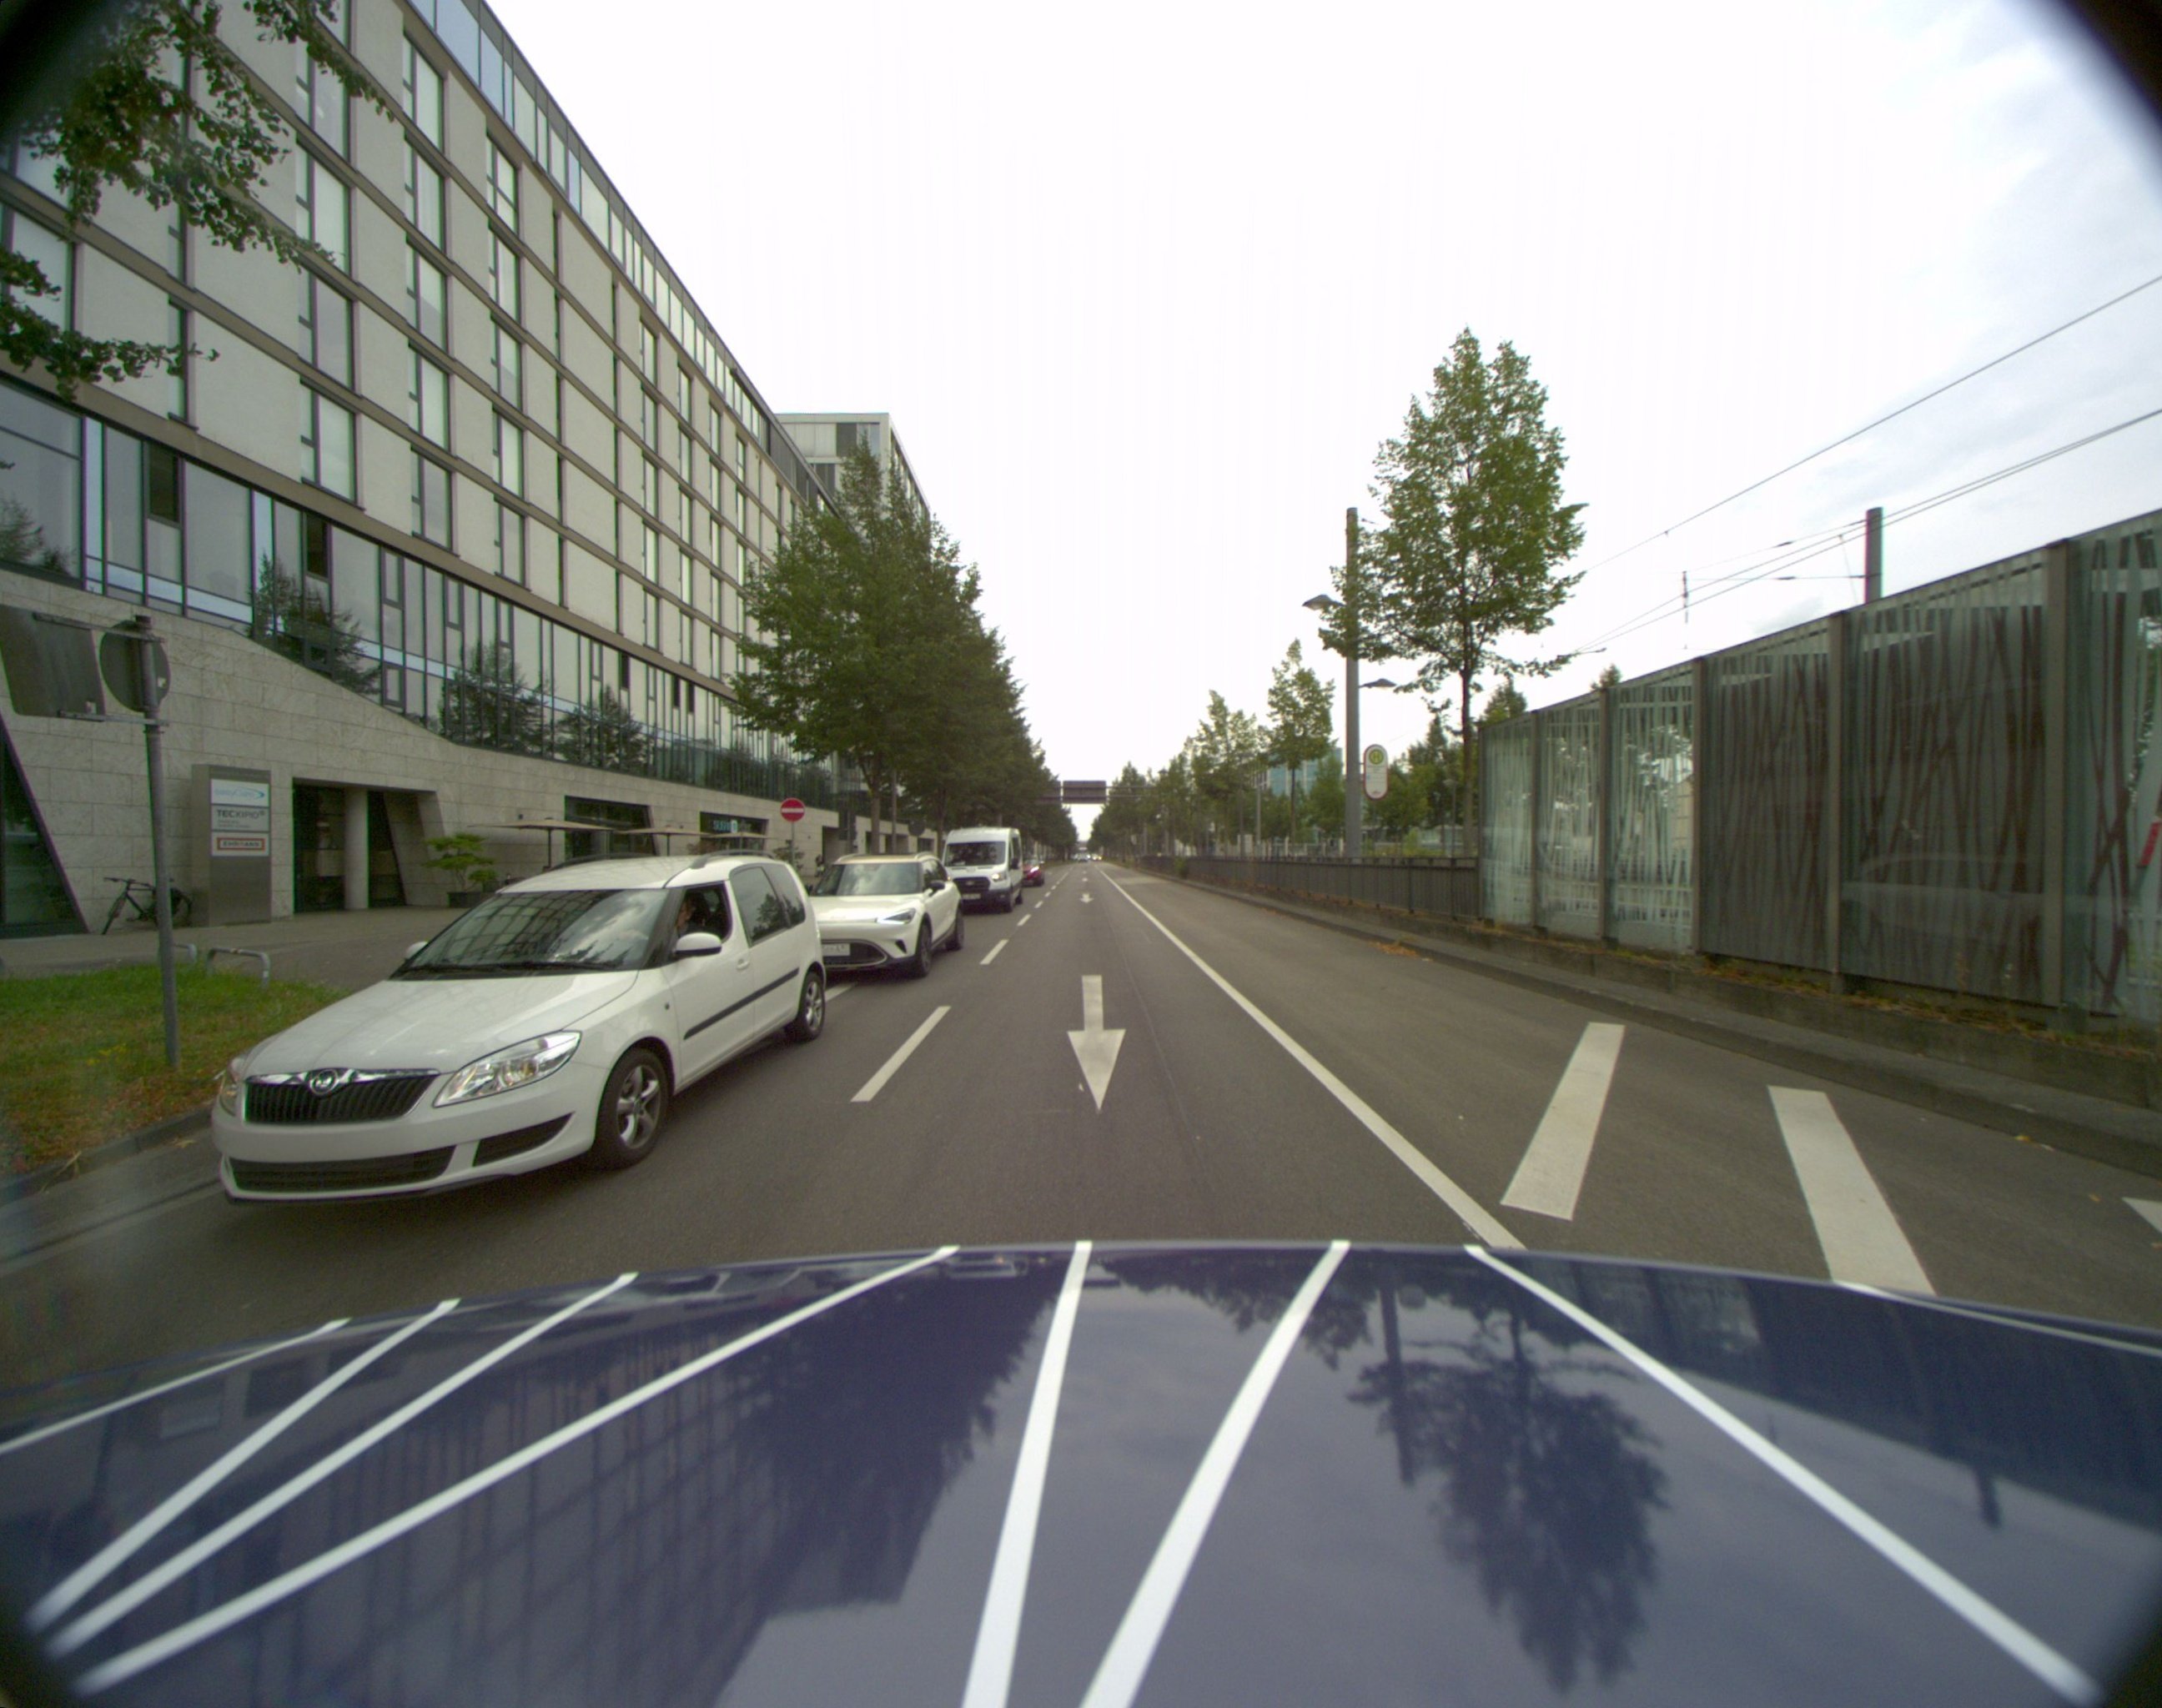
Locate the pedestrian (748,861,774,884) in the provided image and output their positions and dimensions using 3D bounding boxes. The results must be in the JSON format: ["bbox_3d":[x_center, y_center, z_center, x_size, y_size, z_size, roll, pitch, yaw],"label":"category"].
[{"bbox_3d":[-17.348,0.990,41.214,0.773,1.185,1.107,0,0,15],"label":"pedestrian"}]

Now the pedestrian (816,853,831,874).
[{"bbox_3d":[-17.627,0.669,51.996,0.758,1.398,0.721,0,0,8],"label":"pedestrian"}]

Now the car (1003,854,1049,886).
[{"bbox_3d":[-2.725,0.773,38.770,1.973,1.528,4.139,0,0,1],"label":"car"}]

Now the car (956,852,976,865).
[{"bbox_3d":[-14.334,0.553,94.831,1.862,1.579,4.240,2,0,0],"label":"car"}]

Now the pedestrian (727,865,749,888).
[{"bbox_3d":[-17.981,1.180,39.802,0.719,1.185,0.760,0,0,22],"label":"pedestrian"}]

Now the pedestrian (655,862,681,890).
[{"bbox_3d":[-18.140,0.951,33.399,0.720,1.185,0.759,0,0,0],"label":"pedestrian"}]

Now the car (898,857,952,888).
[{"bbox_3d":[-8.238,0.960,40.590,1.943,1.543,4.593,-1,0,0],"label":"car"}]

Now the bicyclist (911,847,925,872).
[{"bbox_3d":[-10.412,0.366,48.514,0.726,1.573,0.989,1,1,-3],"label":"bicyclist"}]

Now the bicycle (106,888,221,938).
[{"bbox_3d":[-18.784,1.192,15.598,0.519,0.905,1.493,0,0,1],"label":"bicycle"}]

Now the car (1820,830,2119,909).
[{"bbox_3d":[20.538,0.323,17.930,1.998,1.608,4.385,0,0,2],"label":"car"}]

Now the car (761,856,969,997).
[{"bbox_3d":[-2.828,0.856,10.928,1.783,1.647,4.023,0,0,1],"label":"car"}]

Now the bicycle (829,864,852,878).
[{"bbox_3d":[-17.734,1.233,56.035,1.605,1.020,0.609,0,0,-27],"label":"bicycle"}]

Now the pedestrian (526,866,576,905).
[{"bbox_3d":[-17.130,1.020,24.571,0.899,1.221,0.950,0,0,5],"label":"pedestrian"}]

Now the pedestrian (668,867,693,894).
[{"bbox_3d":[-18.121,1.193,34.378,0.720,1.185,0.759,0,0,2],"label":"pedestrian"}]

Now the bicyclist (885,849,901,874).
[{"bbox_3d":[-11.977,0.469,48.416,0.726,1.573,0.990,1,1,4],"label":"bicyclist"}]

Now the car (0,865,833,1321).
[{"bbox_3d":[-3.167,0.922,4.845,1.783,1.647,4.023,0,0,1],"label":"car"}]

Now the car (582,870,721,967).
[{"bbox_3d":[-8.537,1.100,14.882,1.951,1.467,4.858,-1,0,-34],"label":"car"}]

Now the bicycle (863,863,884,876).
[{"bbox_3d":[-17.247,1.284,63.297,1.602,1.020,0.533,0,0,-3],"label":"bicycle"}]

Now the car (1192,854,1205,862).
[{"bbox_3d":[24.944,0.869,161.762,1.832,1.646,4.691,0,0,-2],"label":"car"}]

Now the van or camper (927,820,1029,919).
[{"bbox_3d":[-2.899,0.410,22.984,2.184,2.493,6.339,-2,0,0],"label":"van or camper"}]

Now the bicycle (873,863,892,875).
[{"bbox_3d":[-17.578,1.335,67.201,1.533,1.020,0.533,0,0,-3],"label":"bicycle"}]
